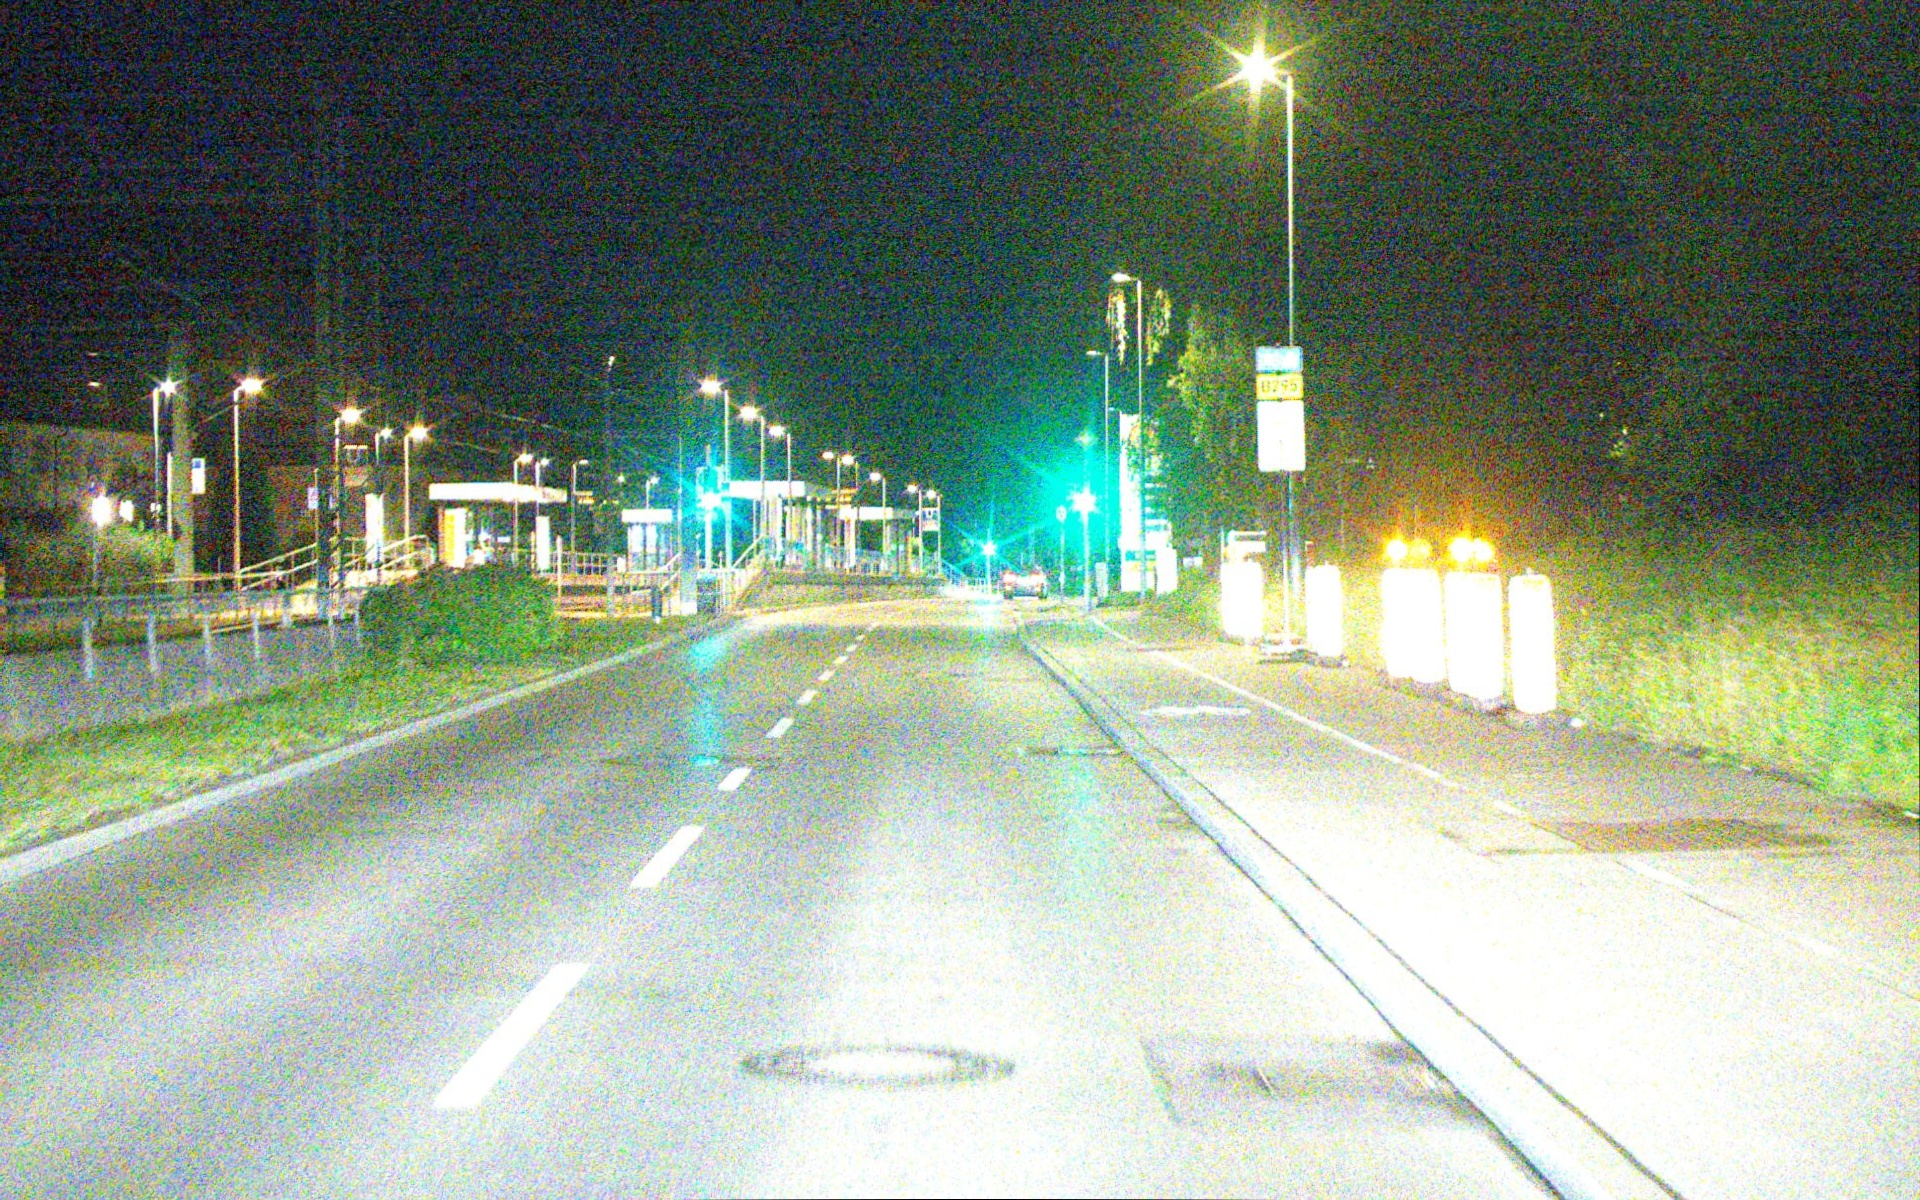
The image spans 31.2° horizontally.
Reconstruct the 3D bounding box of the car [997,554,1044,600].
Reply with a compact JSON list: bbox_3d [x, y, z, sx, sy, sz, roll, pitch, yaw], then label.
[{"bbox_3d":[2.727,-1.031,155.226,2.087,2.007,4.000,-1,1,1],"label":"car"}]
